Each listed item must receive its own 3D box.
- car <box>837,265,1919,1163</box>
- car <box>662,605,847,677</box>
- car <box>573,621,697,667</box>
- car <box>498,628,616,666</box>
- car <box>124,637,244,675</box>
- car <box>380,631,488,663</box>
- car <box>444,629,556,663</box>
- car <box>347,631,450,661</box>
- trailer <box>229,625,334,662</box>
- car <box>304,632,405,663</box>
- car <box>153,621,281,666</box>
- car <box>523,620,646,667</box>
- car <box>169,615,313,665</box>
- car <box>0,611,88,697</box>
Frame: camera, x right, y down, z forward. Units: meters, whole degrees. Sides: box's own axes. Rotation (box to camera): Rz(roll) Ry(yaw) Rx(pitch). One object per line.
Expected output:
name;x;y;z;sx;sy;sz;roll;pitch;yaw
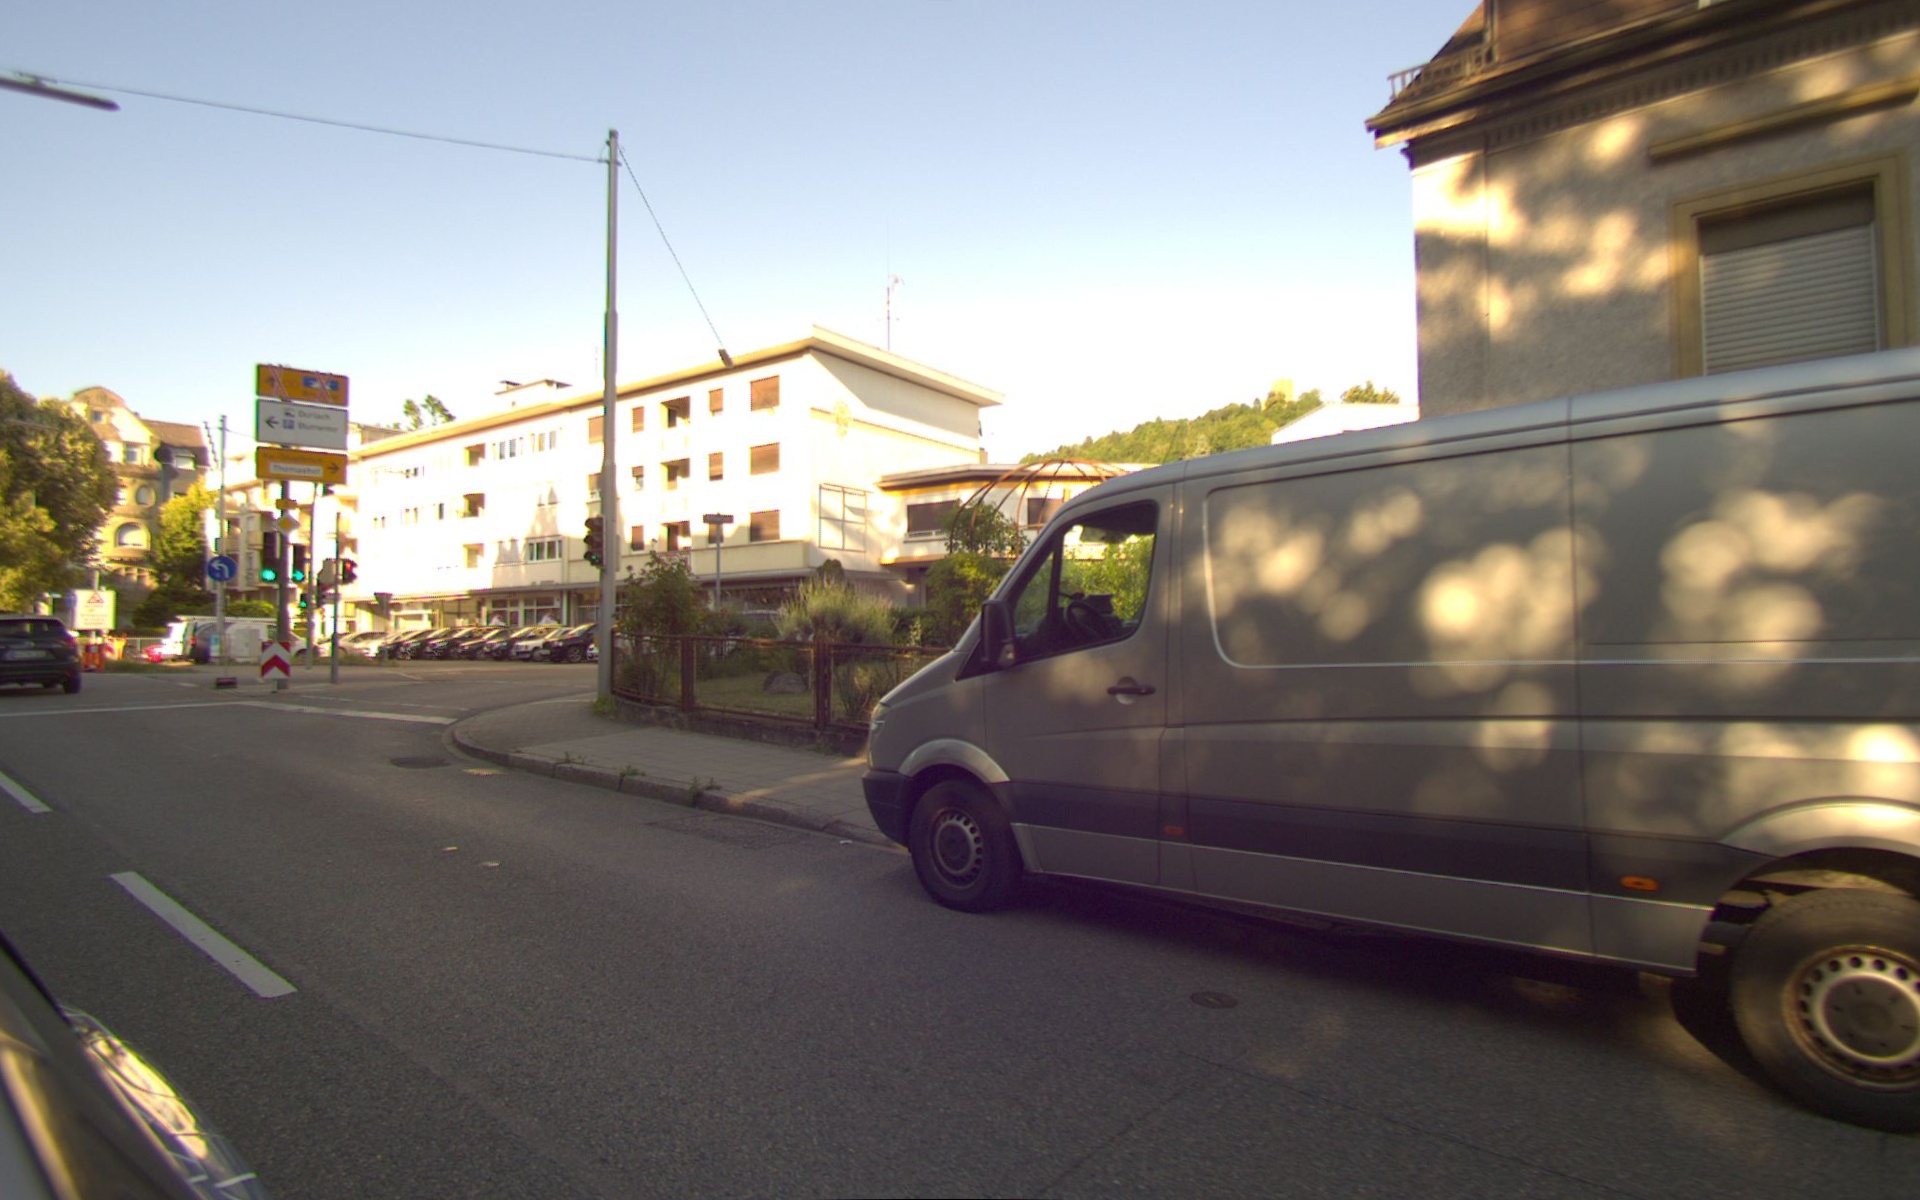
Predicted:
car;2.224;0.349;4.549;6.012;2.479;2.046;-2;-1;42
car;-5.254;1.007;26.069;4.213;1.661;1.964;-1;-2;-36
car;-12.863;1.711;40.136;4.258;1.623;2.004;-1;-2;-39
car;-17.152;1.972;43.145;4.259;1.409;2.004;-1;-2;-39
car;-35.487;2.548;46.351;1.996;1.490;3.955;-3;-1;36
car;-25.708;2.298;49.599;1.998;1.409;4.270;-3;-2;39
car;-21.153;2.113;46.670;1.998;1.409;4.270;-3;-2;39
car;-29.218;2.391;52.743;1.998;1.409;4.270;-3;-2;39
trailer;-27.795;1.765;41.522;1.571;1.407;3.225;-3;-2;35
car;-32.856;2.558;55.006;1.998;1.522;4.270;-3;-2;39
car;-33.099;1.918;45.150;1.998;1.866;4.270;-3;-2;40
car;-15.311;1.744;41.354;4.258;1.728;2.004;-1;-2;-39
car;-30.718;1.697;43.356;2.113;1.980;4.626;-3;-2;35
car;-20.168;1.150;21.521;4.281;1.661;1.933;-3;-2;42
